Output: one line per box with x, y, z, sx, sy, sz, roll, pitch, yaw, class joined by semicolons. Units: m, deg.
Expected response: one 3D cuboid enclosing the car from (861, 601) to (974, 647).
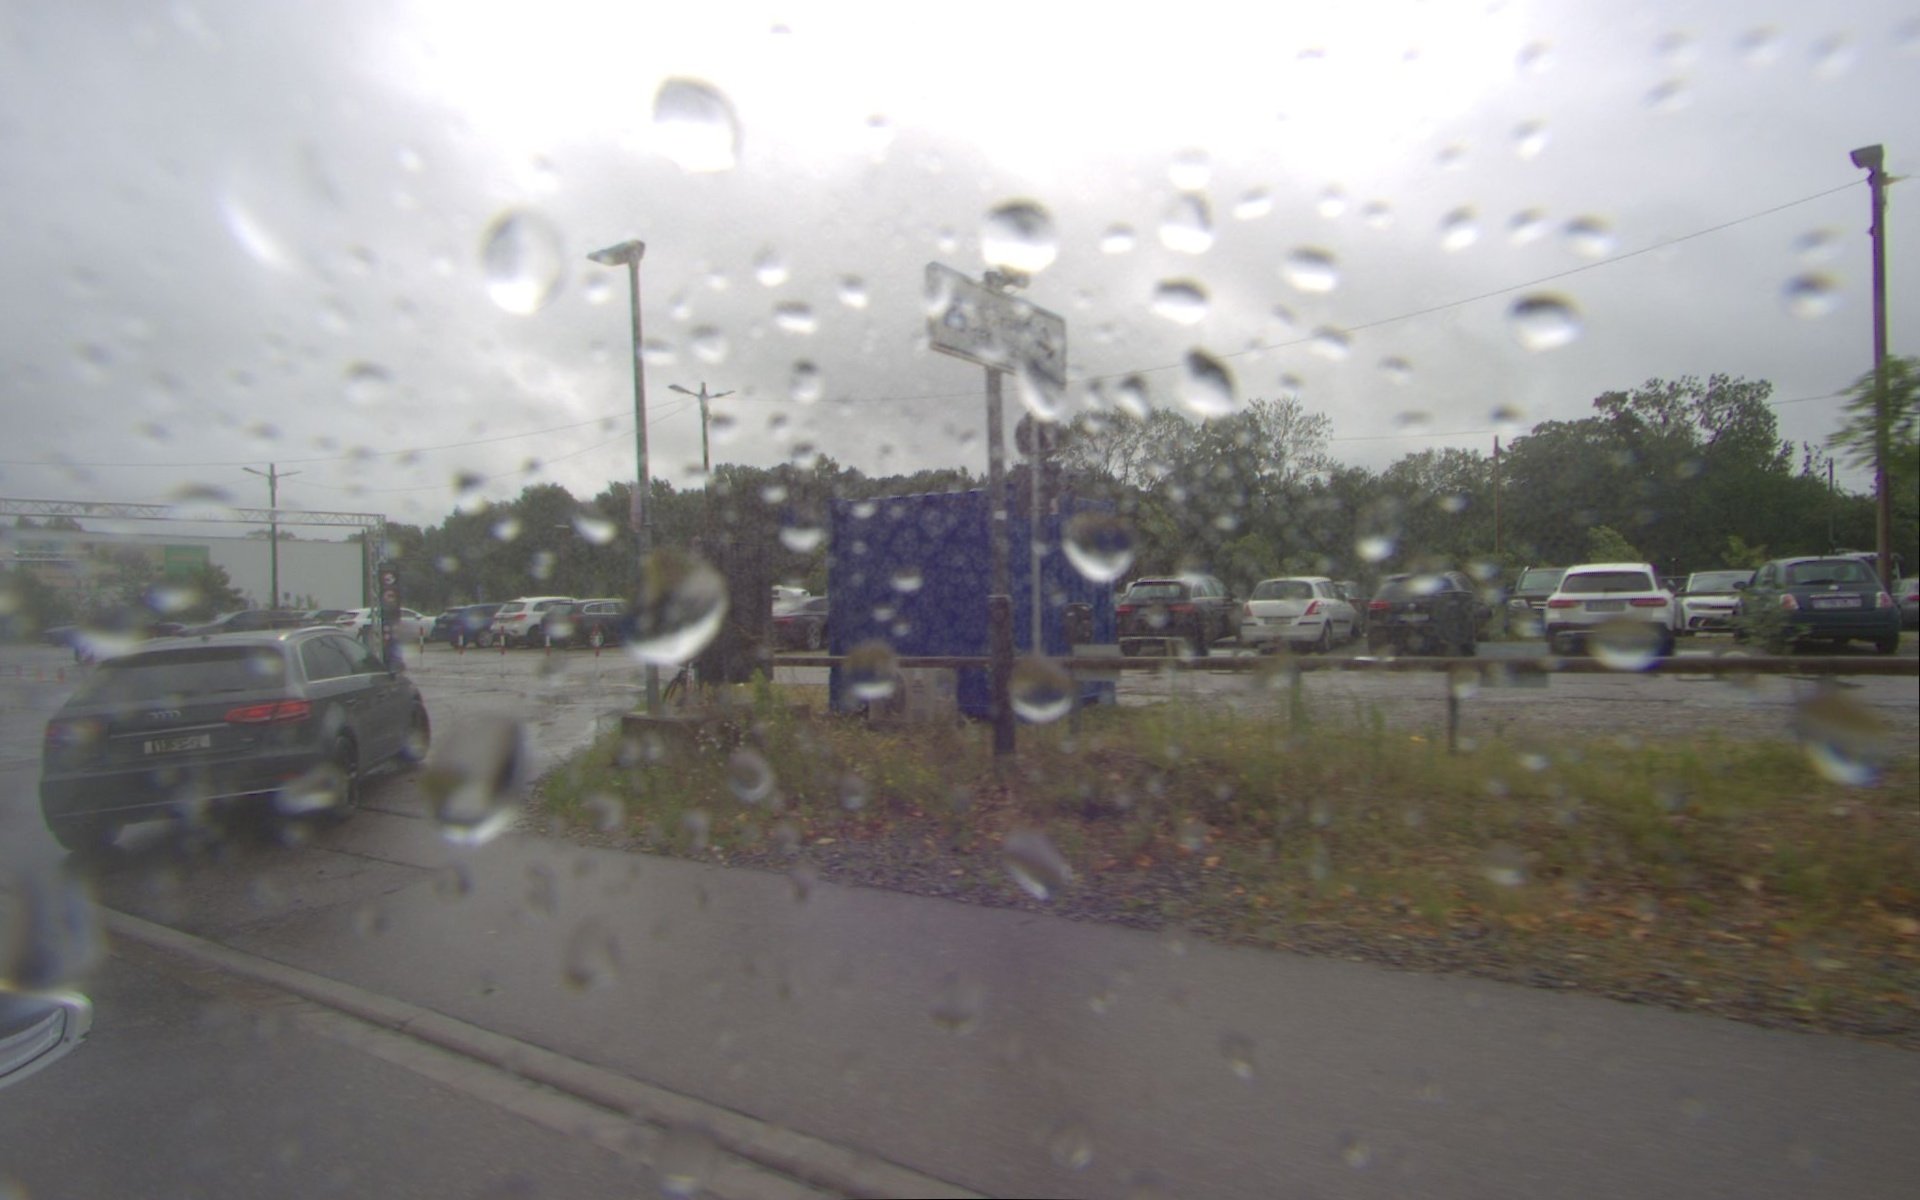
-1.280;0.741;31.882;1.729;1.349;3.982;-2;-1;30;car

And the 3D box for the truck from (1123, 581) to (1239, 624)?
10.901;0.152;49.571;5.207;2.040;2.075;-1;0;34;truck

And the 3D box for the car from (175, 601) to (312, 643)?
-31.979;1.021;44.851;1.988;1.738;4.618;-2;-2;27;car

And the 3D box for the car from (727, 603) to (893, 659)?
-3.942;0.801;27.087;1.950;1.237;4.578;-3;0;31;car

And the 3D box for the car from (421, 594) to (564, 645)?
-16.146;0.660;34.721;1.903;1.504;4.031;-3;1;35;car

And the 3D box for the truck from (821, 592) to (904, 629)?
-6.036;0.667;61.640;5.020;2.166;2.064;-1;0;38;truck

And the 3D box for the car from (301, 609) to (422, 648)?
-29.484;1.376;49.506;2.015;1.626;4.691;-3;1;32;car

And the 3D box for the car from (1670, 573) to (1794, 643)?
16.133;0.135;21.085;1.652;1.338;3.978;-1;0;32;car

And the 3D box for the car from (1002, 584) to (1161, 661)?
2.784;0.459;22.213;1.845;1.509;3.940;-3;0;34;car

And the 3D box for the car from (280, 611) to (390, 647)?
-32.982;1.515;52.936;2.015;1.626;4.430;-3;1;32;car

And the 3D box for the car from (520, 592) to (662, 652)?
-11.449;0.645;31.251;1.763;1.605;3.761;-3;1;35;car

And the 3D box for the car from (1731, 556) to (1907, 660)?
14.218;0.109;16.787;1.754;1.509;3.940;-3;0;34;car

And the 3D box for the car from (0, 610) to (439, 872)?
-5.873;0.901;8.509;1.868;1.476;4.216;-3;1;-19;car

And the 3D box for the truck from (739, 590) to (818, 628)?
-11.875;0.607;65.376;5.011;2.434;2.067;-1;0;33;truck

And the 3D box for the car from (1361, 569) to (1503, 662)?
8.839;0.246;18.586;1.754;1.509;3.940;-3;0;34;car

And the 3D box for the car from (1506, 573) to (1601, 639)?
13.388;0.098;22.498;1.653;1.338;3.976;-1;0;33;car

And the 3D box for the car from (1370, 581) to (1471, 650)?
11.110;0.323;24.007;1.653;1.513;3.977;-1;0;33;car

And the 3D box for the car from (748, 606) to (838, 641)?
-8.064;1.120;48.729;1.992;1.610;4.309;-1;0;32;car

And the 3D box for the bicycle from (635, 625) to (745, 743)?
-2.797;0.809;10.268;0.502;1.098;1.691;-2;0;-36;bicycle

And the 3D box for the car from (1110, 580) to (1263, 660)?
4.927;0.376;21.425;1.845;1.509;3.940;-3;0;34;car

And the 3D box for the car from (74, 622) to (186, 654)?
-41.614;1.889;50.284;1.973;1.504;3.978;-3;-2;33;car

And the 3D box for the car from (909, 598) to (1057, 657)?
0.642;0.635;24.485;1.627;1.237;3.872;-3;0;37;car

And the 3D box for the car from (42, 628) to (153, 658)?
-44.519;2.222;51.781;1.973;1.427;3.978;-3;-2;33;car

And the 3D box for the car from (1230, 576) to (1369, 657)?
7.226;0.306;21.070;1.754;1.509;3.940;-3;0;34;car

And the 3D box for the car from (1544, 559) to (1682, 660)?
11.233;0.135;17.215;1.754;1.509;3.940;-3;0;34;car

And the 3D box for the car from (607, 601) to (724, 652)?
-11.071;0.969;37.907;1.806;1.681;4.052;-3;1;30;car

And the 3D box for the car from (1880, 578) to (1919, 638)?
26.620;0.179;27.395;1.610;1.561;3.882;-1;0;35;car

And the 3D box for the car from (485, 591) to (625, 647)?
-13.349;0.607;33.186;1.763;1.605;3.889;-3;1;35;car

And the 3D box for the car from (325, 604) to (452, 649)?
-22.322;1.009;39.222;1.903;1.504;3.816;-3;1;35;car
